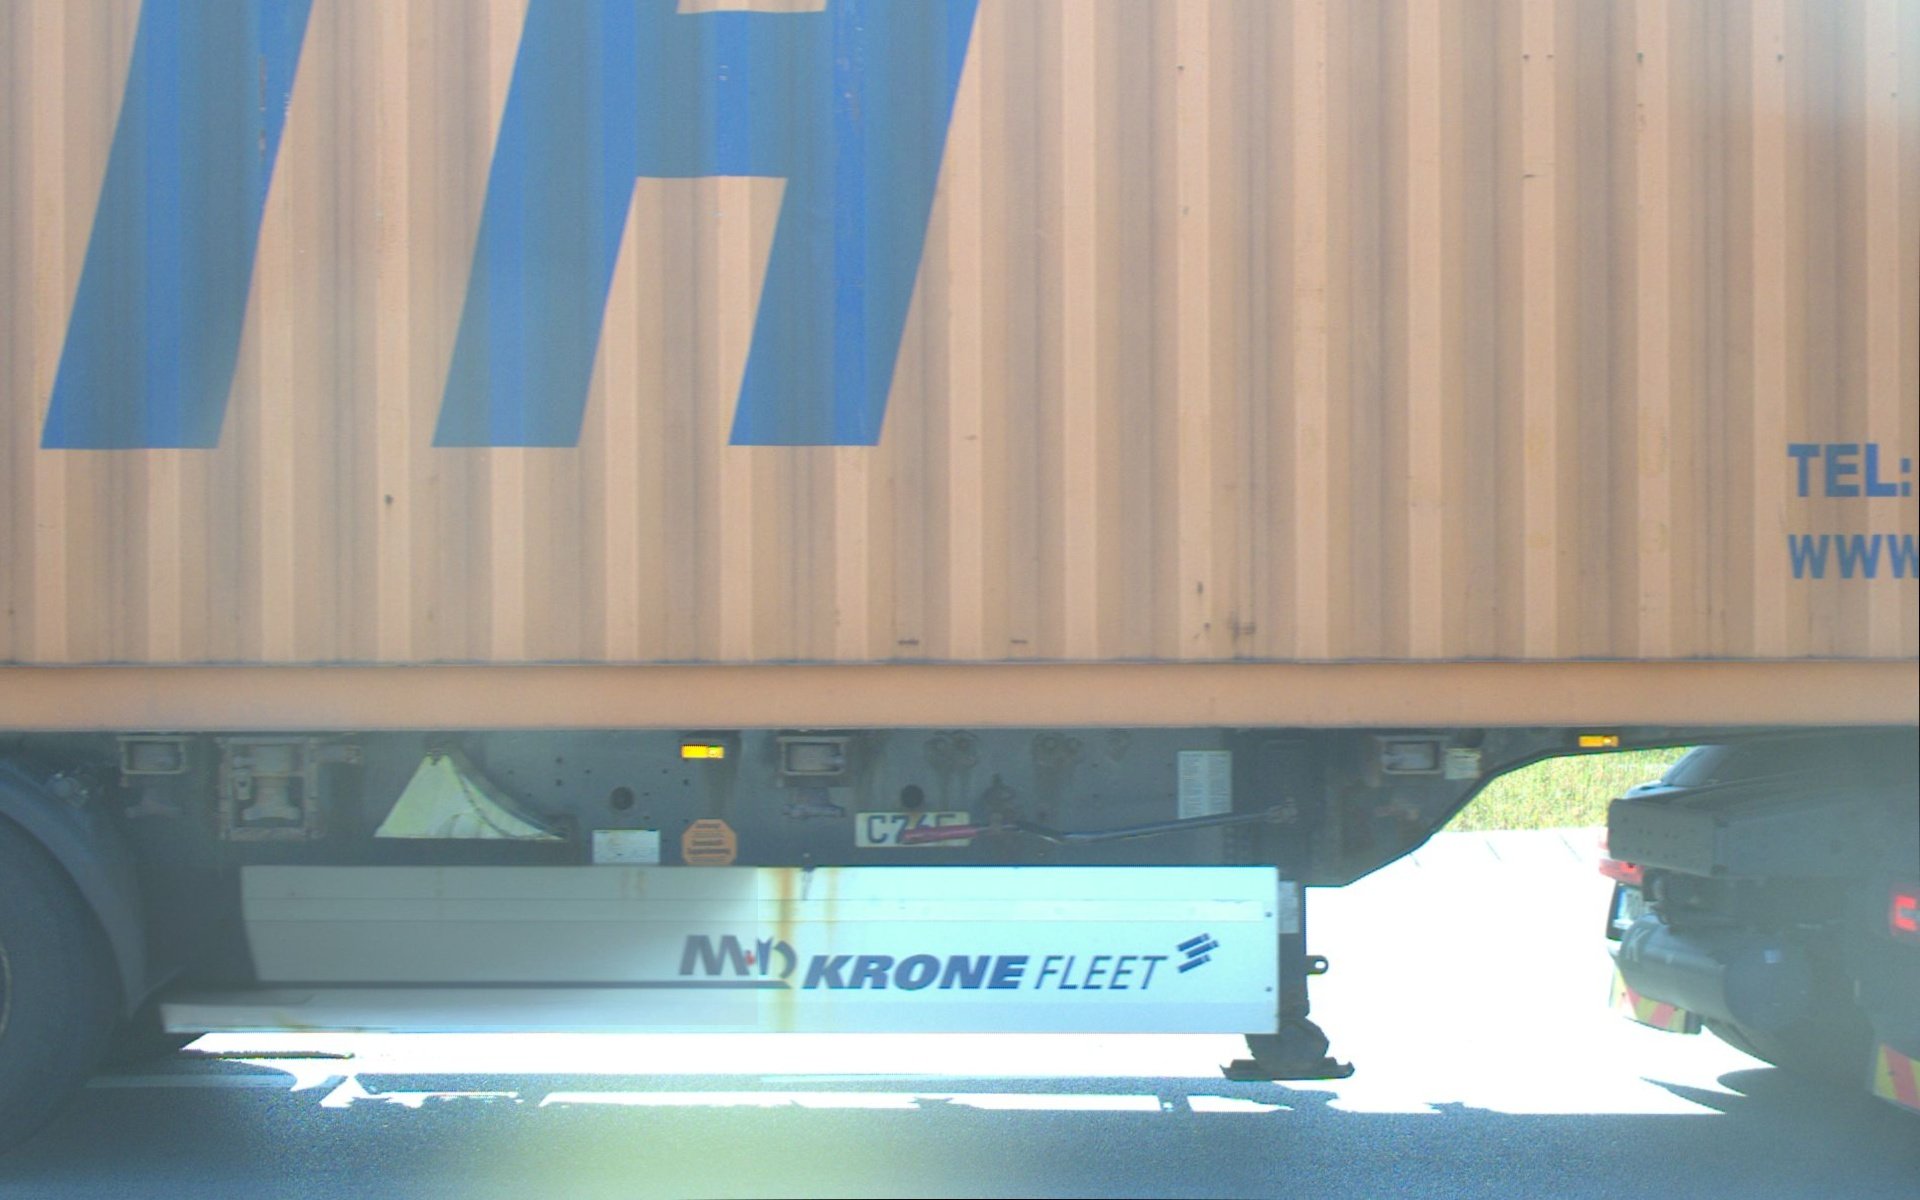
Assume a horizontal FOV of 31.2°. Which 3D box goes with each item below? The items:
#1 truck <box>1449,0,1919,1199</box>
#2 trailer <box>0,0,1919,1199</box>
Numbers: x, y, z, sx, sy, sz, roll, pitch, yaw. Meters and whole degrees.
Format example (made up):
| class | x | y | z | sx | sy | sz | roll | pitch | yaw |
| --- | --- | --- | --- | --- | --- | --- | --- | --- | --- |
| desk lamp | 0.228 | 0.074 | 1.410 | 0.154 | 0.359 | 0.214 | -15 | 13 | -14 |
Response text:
| class | x | y | z | sx | sy | sz | roll | pitch | yaw |
| --- | --- | --- | --- | --- | --- | --- | --- | --- | --- |
| truck | 4.894 | -0.593 | 9.673 | 6.411 | 4.093 | 2.664 | 1 | 0 | -10 |
| trailer | -1.885 | -0.656 | 9.457 | 12.320 | 4.140 | 2.561 | 0 | 0 | 1 |
